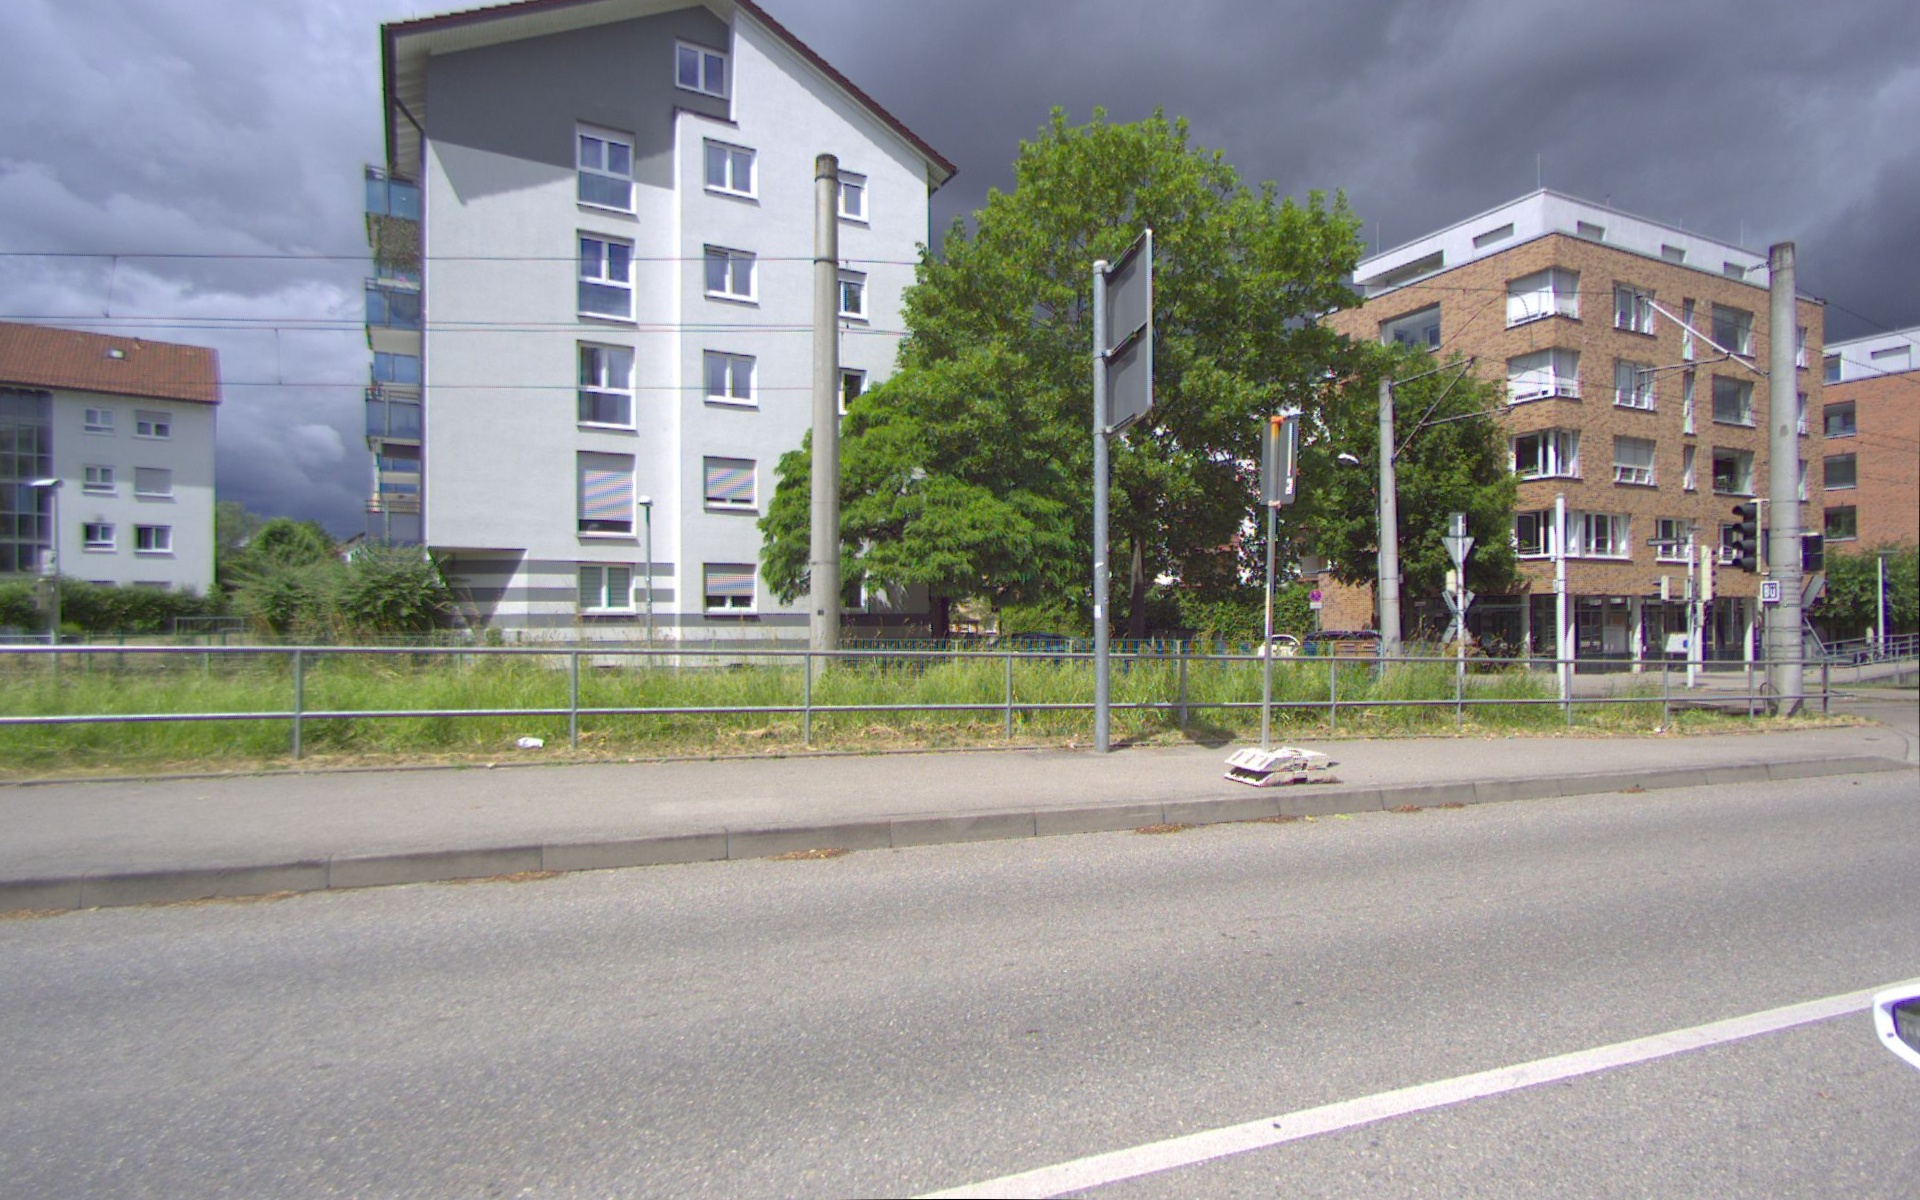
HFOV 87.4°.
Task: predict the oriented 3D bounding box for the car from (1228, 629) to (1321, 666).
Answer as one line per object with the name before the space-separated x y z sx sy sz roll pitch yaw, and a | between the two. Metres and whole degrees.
car | 12.716 1.901 40.774 1.575 1.417 3.517 1 -2 -28

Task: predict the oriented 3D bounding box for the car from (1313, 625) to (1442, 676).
car | 13.099 1.620 31.725 1.566 1.495 3.664 1 -4 -24

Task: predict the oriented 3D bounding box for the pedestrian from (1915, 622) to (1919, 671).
pedestrian | 36.573 1.748 37.781 0.818 1.849 0.740 1 -1 -27

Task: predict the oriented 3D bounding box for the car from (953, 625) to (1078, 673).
car | 1.957 1.702 34.965 4.069 1.576 1.843 3 -2 -34
